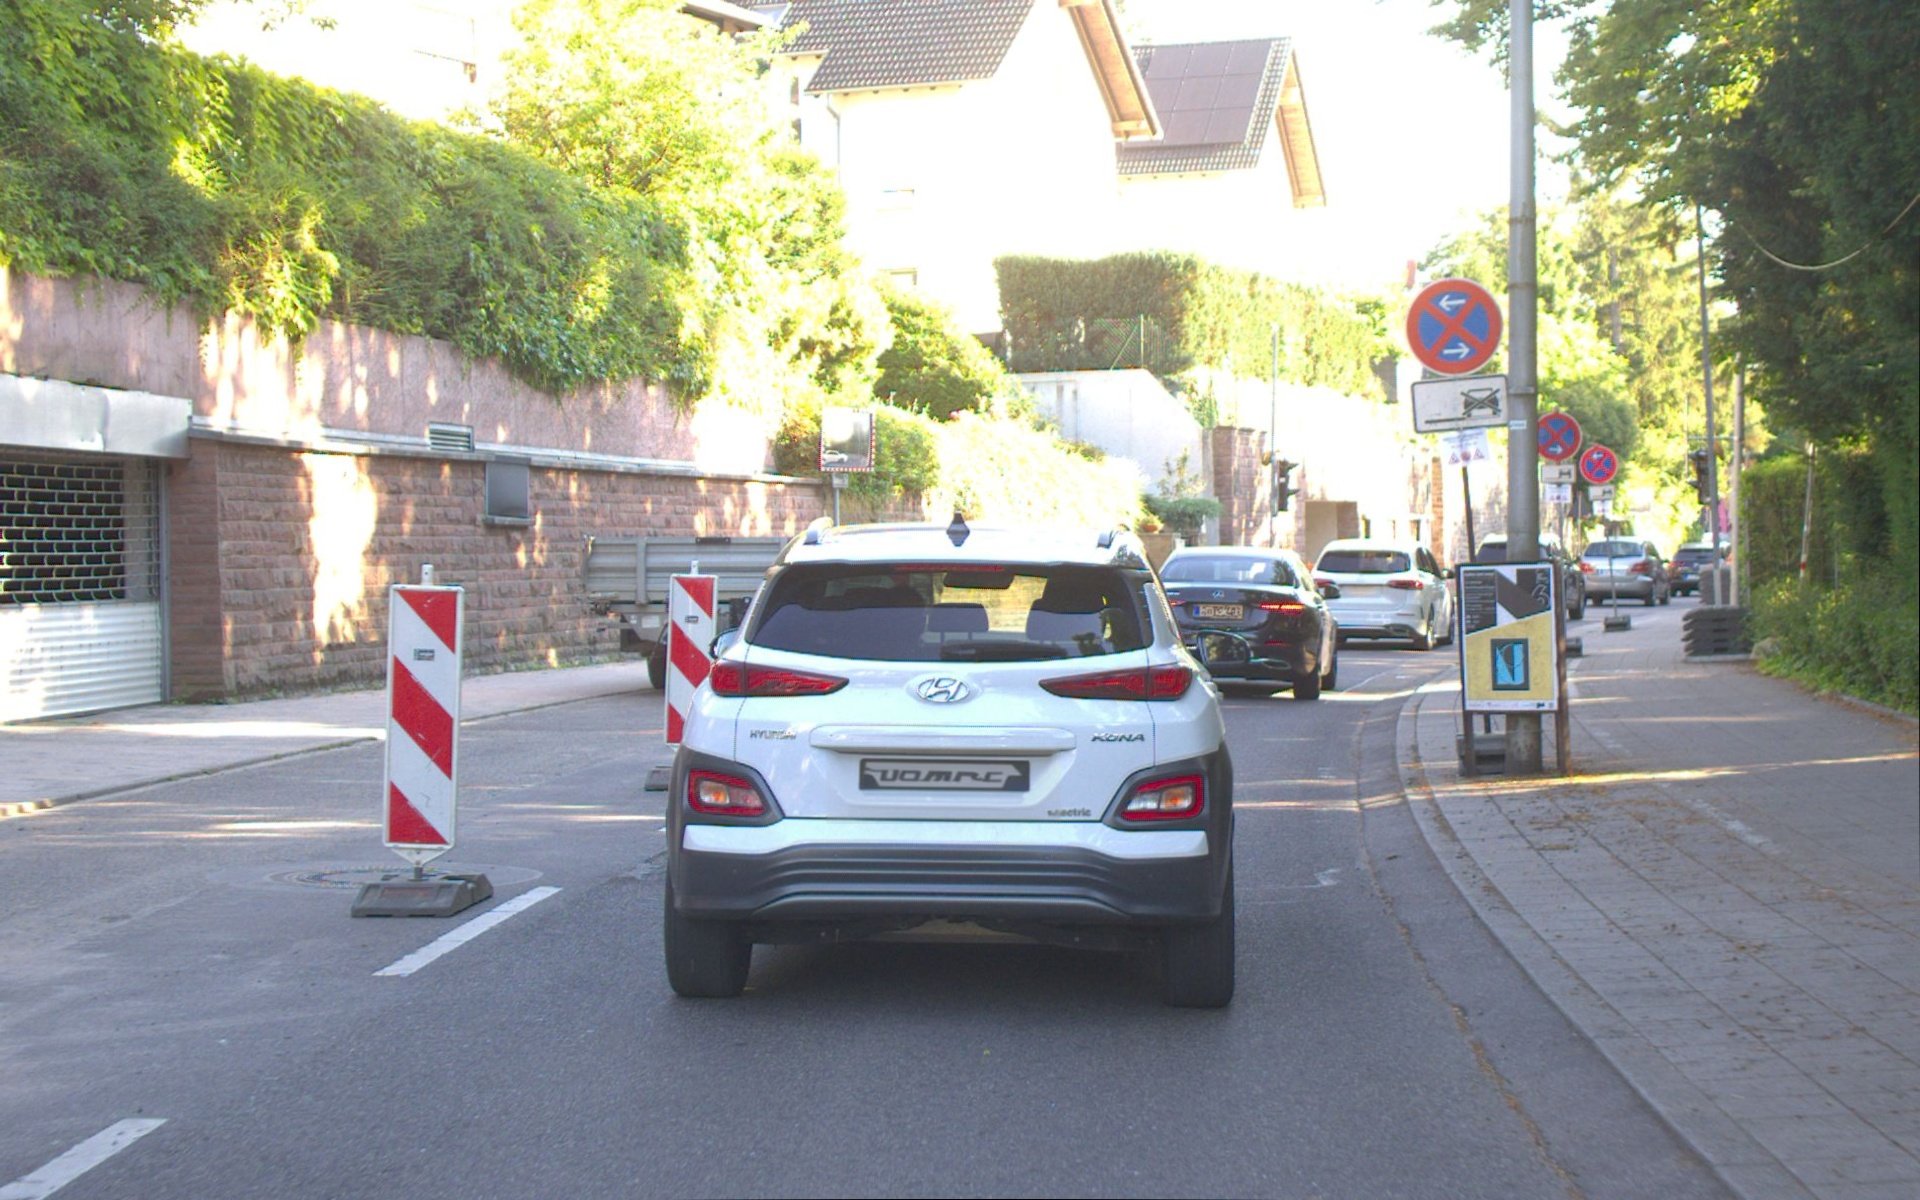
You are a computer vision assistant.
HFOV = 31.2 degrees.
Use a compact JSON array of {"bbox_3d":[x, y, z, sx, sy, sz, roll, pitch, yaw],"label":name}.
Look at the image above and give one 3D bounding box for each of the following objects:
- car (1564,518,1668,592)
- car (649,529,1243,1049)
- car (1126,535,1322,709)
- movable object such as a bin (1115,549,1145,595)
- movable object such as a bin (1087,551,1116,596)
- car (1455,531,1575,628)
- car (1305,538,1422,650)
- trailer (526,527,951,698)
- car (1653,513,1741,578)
[{"bbox_3d":[15.040,-1.048,78.688,1.695,1.442,3.878,-4,1,19],"label":"car"},{"bbox_3d":[0.002,0.525,12.265,1.772,1.537,4.000,0,1,1],"label":"car"},{"bbox_3d":[2.613,0.174,33.463,1.512,1.528,3.546,-2,1,10],"label":"car"},{"bbox_3d":[3.317,-0.553,67.176,0.456,0.881,0.500,0,2,19],"label":"movable object such as a bin"},{"bbox_3d":[2.687,-0.508,65.251,0.454,0.831,0.392,-1,1,19],"label":"movable object such as a bin"},{"bbox_3d":[10.291,-0.405,63.565,1.695,1.527,3.879,-5,1,15],"label":"car"},{"bbox_3d":[5.660,-0.113,48.351,1.571,1.472,3.547,0,1,6],"label":"car"},{"bbox_3d":[-1.963,0.035,33.626,2.641,1.484,7.116,0,1,9],"label":"trailer"},{"bbox_3d":[19.615,-1.461,91.458,1.695,1.499,3.627,-4,1,20],"label":"car"}]
